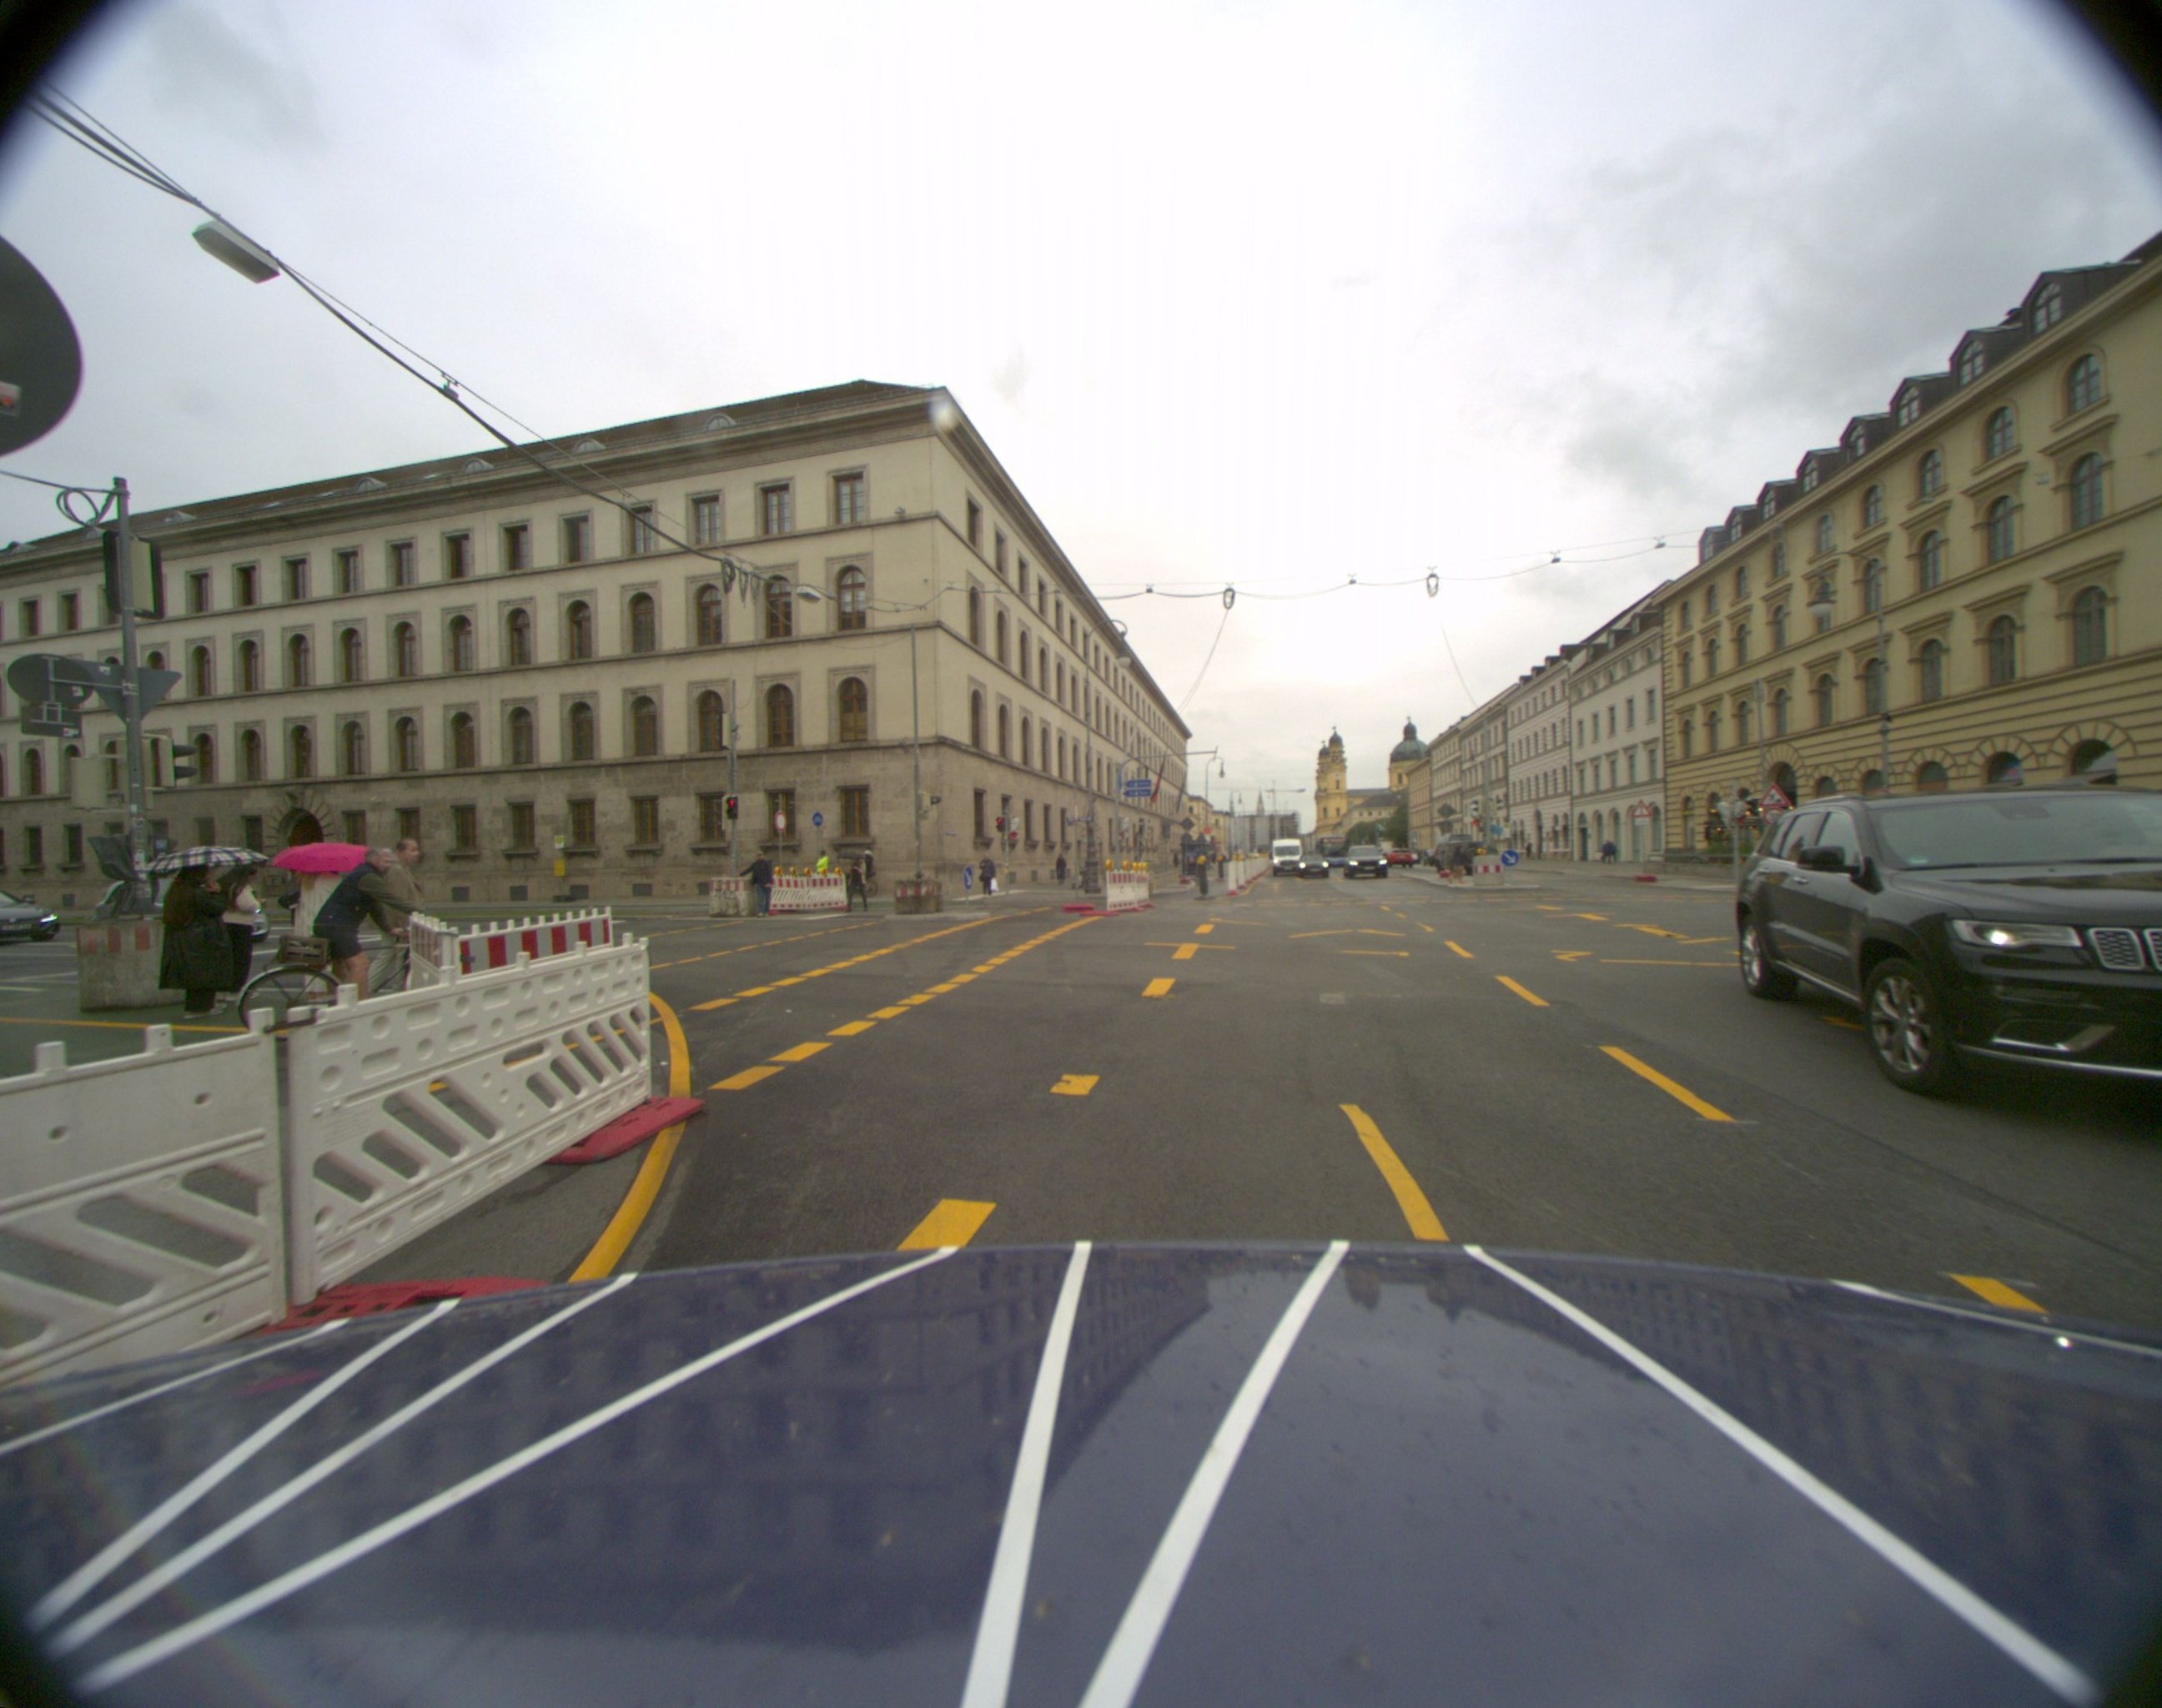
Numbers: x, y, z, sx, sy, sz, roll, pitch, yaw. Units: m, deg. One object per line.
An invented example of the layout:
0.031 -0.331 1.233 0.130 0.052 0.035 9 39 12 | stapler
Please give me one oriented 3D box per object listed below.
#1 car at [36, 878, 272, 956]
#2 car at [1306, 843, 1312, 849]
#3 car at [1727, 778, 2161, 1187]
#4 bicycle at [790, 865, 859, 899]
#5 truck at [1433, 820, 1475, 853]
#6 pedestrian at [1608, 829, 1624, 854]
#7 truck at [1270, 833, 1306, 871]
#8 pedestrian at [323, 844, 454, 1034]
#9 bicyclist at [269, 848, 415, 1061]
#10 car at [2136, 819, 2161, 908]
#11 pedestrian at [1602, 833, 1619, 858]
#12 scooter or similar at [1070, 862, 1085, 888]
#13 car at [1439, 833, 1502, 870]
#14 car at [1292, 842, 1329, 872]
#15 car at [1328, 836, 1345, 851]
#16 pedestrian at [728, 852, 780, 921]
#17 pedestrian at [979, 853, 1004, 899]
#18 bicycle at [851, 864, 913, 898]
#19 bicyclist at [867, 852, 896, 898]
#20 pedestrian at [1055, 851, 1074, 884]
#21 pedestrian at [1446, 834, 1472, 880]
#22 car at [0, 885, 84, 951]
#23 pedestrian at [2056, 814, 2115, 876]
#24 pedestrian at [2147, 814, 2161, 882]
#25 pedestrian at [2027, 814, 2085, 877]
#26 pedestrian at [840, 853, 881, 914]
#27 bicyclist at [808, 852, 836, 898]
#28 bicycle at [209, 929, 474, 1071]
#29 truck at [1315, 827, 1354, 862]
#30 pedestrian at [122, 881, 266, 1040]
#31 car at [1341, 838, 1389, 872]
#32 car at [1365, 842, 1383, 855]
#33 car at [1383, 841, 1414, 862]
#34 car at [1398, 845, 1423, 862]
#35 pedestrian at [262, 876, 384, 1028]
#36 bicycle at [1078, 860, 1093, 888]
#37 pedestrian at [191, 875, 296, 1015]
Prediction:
-20.158 1.357 16.562 3.993 1.495 1.636 -2 1 14 | car
71.520 -2.622 238.483 1.864 1.788 3.756 -1 0 15 | car
6.056 0.501 4.964 1.996 1.724 4.594 -2 0 30 | car
-10.179 1.128 30.225 2.445 1.235 0.790 -2 2 7 | bicycle
31.739 -1.469 64.826 2.218 2.647 4.788 -1 0 14 | truck
39.243 -0.913 55.724 0.738 1.761 0.737 -1 1 14 | pedestrian
14.259 -0.151 52.516 2.113 2.466 5.865 -2 0 13 | truck
-7.229 0.850 7.956 0.639 1.874 0.705 -1 2 19 | pedestrian
-6.867 0.882 7.107 0.800 1.843 0.566 -3 2 -34 | bicyclist
21.831 0.126 12.894 4.221 1.667 1.803 -2 0 37 | car
38.015 -0.634 54.570 0.738 1.761 0.737 -1 1 14 | pedestrian
-0.172 0.999 36.914 0.381 1.138 1.990 -2 1 9 | scooter or similar
22.654 -0.129 44.332 2.241 2.002 4.454 -2 0 13 | car
13.631 0.159 45.273 1.798 1.585 4.003 -2 1 13 | car
32.850 -1.373 97.769 1.864 1.788 3.757 -1 0 15 | car
-8.438 0.824 19.614 1.042 1.733 0.514 -2 1 4 | pedestrian
-3.327 0.798 28.246 0.738 1.645 0.727 1 2 7 | pedestrian
-7.785 1.070 29.750 2.194 1.235 0.790 -2 2 18 | bicycle
-7.804 0.806 29.744 0.687 1.766 0.801 -2 2 18 | bicyclist
-0.854 0.700 39.582 0.737 1.645 0.727 1 2 16 | pedestrian
14.846 0.105 29.866 0.735 1.762 0.740 -2 2 13 | pedestrian
-27.513 1.611 18.714 4.298 1.433 1.924 -2 2 13 | car
29.062 -0.266 21.997 0.738 1.762 0.736 -2 2 4 | pedestrian
28.607 -0.175 19.802 0.758 1.762 0.737 -1 2 35 | pedestrian
28.305 -0.256 22.071 0.738 1.762 0.736 -2 2 4 | pedestrian
-6.585 0.864 22.731 0.737 1.762 0.848 -1 2 27 | pedestrian
-10.300 0.825 30.226 0.688 1.739 0.801 -2 2 8 | bicyclist
-6.827 1.305 7.141 1.659 1.006 0.585 -3 2 -34 | bicycle
23.661 -0.962 71.132 2.986 2.996 7.150 -2 1 15 | truck
-9.387 1.093 8.064 0.680 1.558 0.705 -2 2 16 | pedestrian
15.449 0.038 41.543 1.996 1.674 4.004 -2 0 14 | car
42.217 -0.826 109.572 1.820 1.710 4.004 -2 0 14 | car
26.769 -0.219 64.222 1.820 1.710 4.004 -2 0 14 | car
35.709 -0.050 82.420 1.820 1.710 4.004 -2 0 14 | car
-8.323 1.046 8.366 0.540 1.558 0.705 -2 2 16 | pedestrian
0.241 0.939 36.862 0.381 1.235 1.990 -2 1 9 | bicycle
-10.090 1.074 9.165 0.672 1.611 0.533 -2 2 16 | pedestrian
